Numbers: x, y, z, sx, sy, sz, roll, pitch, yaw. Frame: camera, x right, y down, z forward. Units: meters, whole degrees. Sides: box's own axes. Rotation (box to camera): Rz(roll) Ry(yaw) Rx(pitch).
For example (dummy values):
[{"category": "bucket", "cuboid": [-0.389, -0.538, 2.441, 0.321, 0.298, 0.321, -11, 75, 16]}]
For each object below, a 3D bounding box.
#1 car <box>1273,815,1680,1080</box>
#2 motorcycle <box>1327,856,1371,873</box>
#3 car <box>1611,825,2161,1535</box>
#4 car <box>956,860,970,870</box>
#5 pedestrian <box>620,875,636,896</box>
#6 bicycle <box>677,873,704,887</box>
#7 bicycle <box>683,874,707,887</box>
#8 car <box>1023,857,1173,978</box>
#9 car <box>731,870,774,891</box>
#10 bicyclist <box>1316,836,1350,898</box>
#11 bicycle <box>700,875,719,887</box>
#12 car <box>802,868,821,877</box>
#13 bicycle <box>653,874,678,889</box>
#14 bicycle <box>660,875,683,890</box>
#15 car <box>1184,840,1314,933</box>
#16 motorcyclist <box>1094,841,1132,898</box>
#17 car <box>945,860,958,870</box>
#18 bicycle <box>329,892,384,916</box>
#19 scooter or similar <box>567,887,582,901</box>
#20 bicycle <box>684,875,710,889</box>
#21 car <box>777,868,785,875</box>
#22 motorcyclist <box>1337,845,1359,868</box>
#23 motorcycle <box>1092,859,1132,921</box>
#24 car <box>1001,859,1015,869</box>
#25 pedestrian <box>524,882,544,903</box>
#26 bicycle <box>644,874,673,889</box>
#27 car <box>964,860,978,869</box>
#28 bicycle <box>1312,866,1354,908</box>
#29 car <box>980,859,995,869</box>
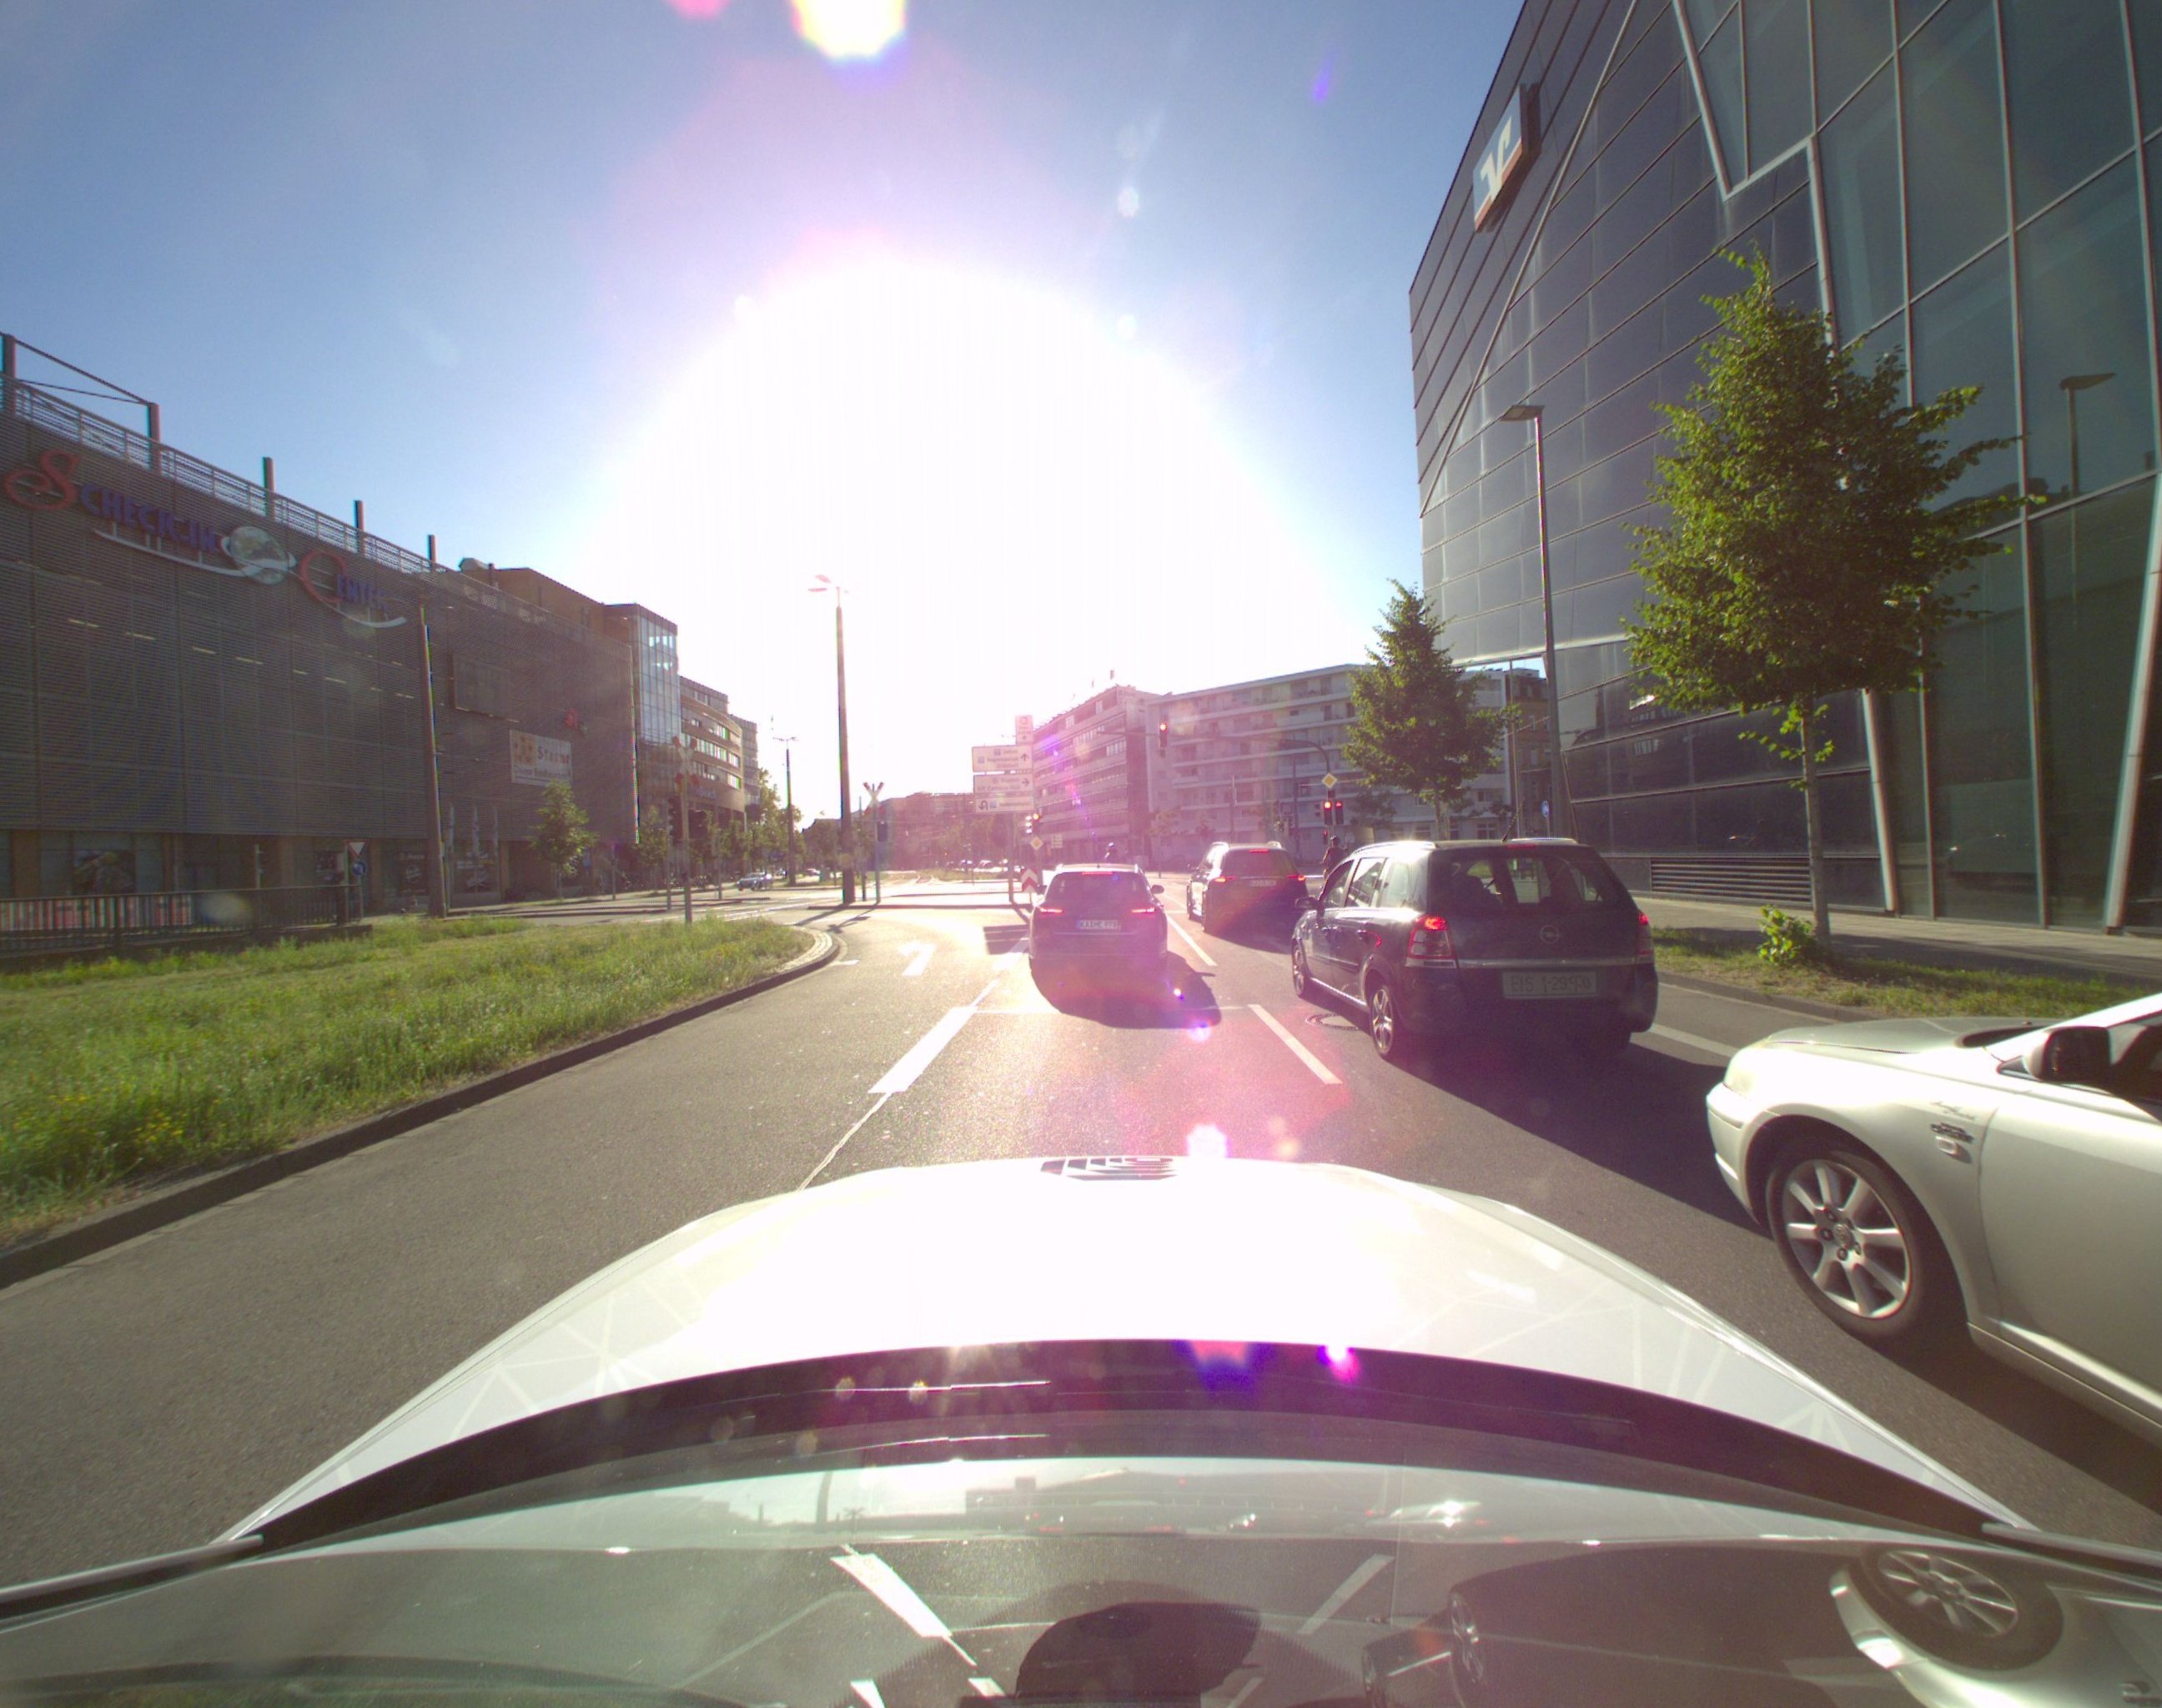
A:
[{"category": "car", "cuboid": [3.044, 0.613, 7.369, 1.739, 1.696, 4.263, 0, 0, 2]}, {"category": "motorcycle", "cuboid": [17.672, 0.664, 53.733, 2.449, 1.000, 1.169, -2, 0, -5]}, {"category": "car", "cuboid": [3.094, 0.657, 1.192, 1.739, 1.481, 4.631, -2, 0, 2]}, {"category": "car", "cuboid": [-22.237, 2.102, 153.729, 1.998, 1.706, 3.977, -3, -1, -16]}, {"category": "pedestrian", "cuboid": [-41.554, 2.857, 74.659, 0.823, 1.824, 0.905, -3, -2, 3]}, {"category": "bicycle", "cuboid": [-42.828, 2.835, 89.315, 2.546, 1.433, 0.907, -3, -1, 10]}, {"category": "bicycle", "cuboid": [-46.485, 3.144, 98.103, 2.591, 1.433, 0.773, -3, -1, 10]}, {"category": "car", "cuboid": [0.269, 0.791, 12.036, 1.835, 1.454, 4.001, -1, 0, 2]}, {"category": "car", "cuboid": [-27.333, 2.151, 67.915, 1.990, 1.545, 4.522, -2, 0, -5]}, {"category": "bicyclist", "cuboid": [6.840, 0.344, 22.121, 0.651, 1.642, 0.973, -2, 0, 5]}, {"category": "bicycle", "cuboid": [-46.744, 3.386, 102.426, 2.125, 1.433, 0.761, -3, -1, 10]}, {"category": "car", "cuboid": [-51.368, 3.484, 155.232, 3.317, 1.588, 1.665, -2, 0, 26]}, {"category": "bicycle", "cuboid": [-43.066, 2.890, 84.398, 2.070, 1.433, 0.863, -3, -1, 10]}, {"category": "bicycle", "cuboid": [-42.975, 2.994, 85.530, 1.965, 1.433, 0.809, -3, -1, 10]}, {"category": "car", "cuboid": [3.403, 0.607, 17.358, 1.995, 1.715, 4.374, -1, 0, 2]}, {"category": "motorcyclist", "cuboid": [0.779, 0.364, 19.699, 0.859, 1.326, 0.681, -2, -1, 2]}, {"category": "car", "cuboid": [-24.273, 2.140, 152.611, 1.998, 1.706, 3.977, -3, -1, -16]}, {"category": "bicycle", "cuboid": [-41.399, 2.840, 46.594, 0.796, 1.220, 2.418, -2, 0, 5]}, {"category": "scooter or similar", "cuboid": [-42.402, 3.314, 68.160, 0.419, 1.110, 1.153, -3, -2, 3]}, {"category": "bicycle", "cuboid": [-43.143, 3.126, 91.571, 2.546, 1.433, 0.907, -3, -1, 10]}, {"category": "car", "cuboid": [-78.032, 4.579, 211.634, 1.658, 1.588, 3.330, -2, 0, -25]}, {"category": "motorcyclist", "cuboid": [17.605, 0.182, 53.736, 0.923, 1.481, 1.170, -2, -1, -5]}, {"category": "motorcycle", "cuboid": [0.747, 0.841, 19.687, 0.859, 1.393, 1.894, -2, -1, 2]}, {"category": "car", "cuboid": [-14.042, 1.897, 156.772, 1.996, 1.838, 3.981, -3, -1, -13]}, {"category": "pedestrian", "cuboid": [-43.735, 3.057, 65.143, 0.984, 1.566, 0.829, -3, -2, 1]}, {"category": "bicycle", "cuboid": [-43.266, 2.834, 83.355, 2.355, 1.433, 1.079, -3, -1, 10]}, {"category": "car", "cuboid": [-19.916, 1.920, 147.109, 1.996, 1.596, 3.981, -3, -1, -13]}, {"category": "bicycle", "cuboid": [6.821, 0.875, 22.121, 0.651, 1.043, 1.932, -2, 0, 5]}, {"category": "car", "cuboid": [-16.588, 1.849, 144.529, 1.997, 1.596, 3.979, -3, -1, -15]}]
